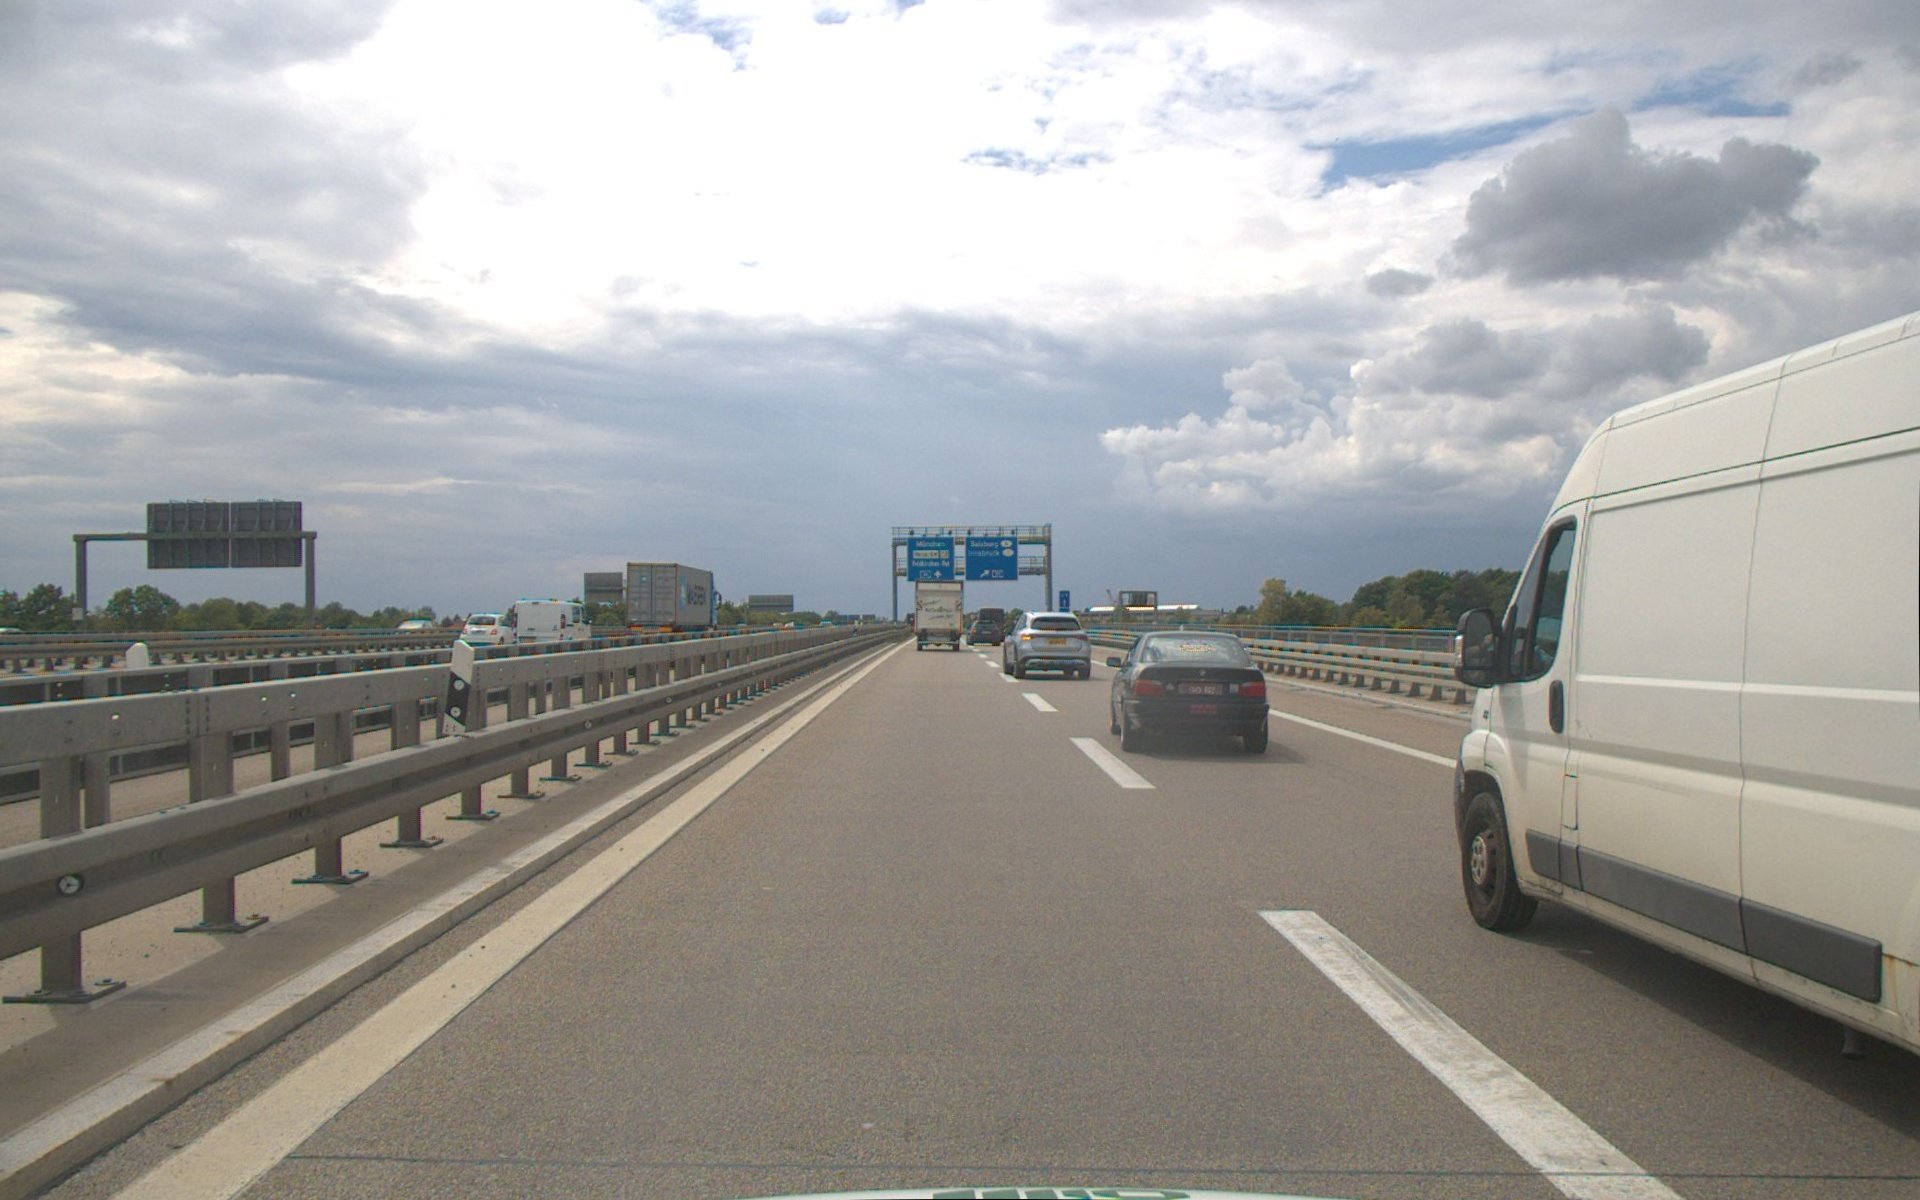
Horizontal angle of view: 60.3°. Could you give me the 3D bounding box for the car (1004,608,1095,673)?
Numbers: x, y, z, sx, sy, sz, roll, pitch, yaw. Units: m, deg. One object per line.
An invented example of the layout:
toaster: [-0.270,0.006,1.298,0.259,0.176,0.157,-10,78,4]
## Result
car: [2.191,0.982,41.497,1.783,1.541,3.996,1,-1,-4]

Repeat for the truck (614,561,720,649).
truck: [-15.039,0.288,86.358,3.119,4.089,16.067,1,-1,-2]

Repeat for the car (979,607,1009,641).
car: [2.394,1.673,115.980,1.868,2.301,4.647,1,-1,-1]

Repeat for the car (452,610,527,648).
car: [-18.591,1.135,65.503,1.761,1.444,4.000,1,-1,1]

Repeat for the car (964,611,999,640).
car: [1.195,1.416,93.400,1.846,1.579,3.999,1,-1,-1]

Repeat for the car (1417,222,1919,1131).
car: [3.644,0.234,6.121,2.071,2.497,6.150,1,-1,-1]

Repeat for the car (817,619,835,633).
car: [-15.899,3.107,196.330,1.790,1.590,4.000,1,-1,0]

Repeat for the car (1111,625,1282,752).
car: [2.721,0.975,19.838,1.668,1.303,4.367,1,-1,4]

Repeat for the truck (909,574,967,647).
truck: [-1.026,0.588,77.645,2.517,3.181,8.631,1,-2,-1]

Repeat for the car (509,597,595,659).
car: [-14.326,0.968,58.266,1.953,2.049,4.373,1,-1,-1]
